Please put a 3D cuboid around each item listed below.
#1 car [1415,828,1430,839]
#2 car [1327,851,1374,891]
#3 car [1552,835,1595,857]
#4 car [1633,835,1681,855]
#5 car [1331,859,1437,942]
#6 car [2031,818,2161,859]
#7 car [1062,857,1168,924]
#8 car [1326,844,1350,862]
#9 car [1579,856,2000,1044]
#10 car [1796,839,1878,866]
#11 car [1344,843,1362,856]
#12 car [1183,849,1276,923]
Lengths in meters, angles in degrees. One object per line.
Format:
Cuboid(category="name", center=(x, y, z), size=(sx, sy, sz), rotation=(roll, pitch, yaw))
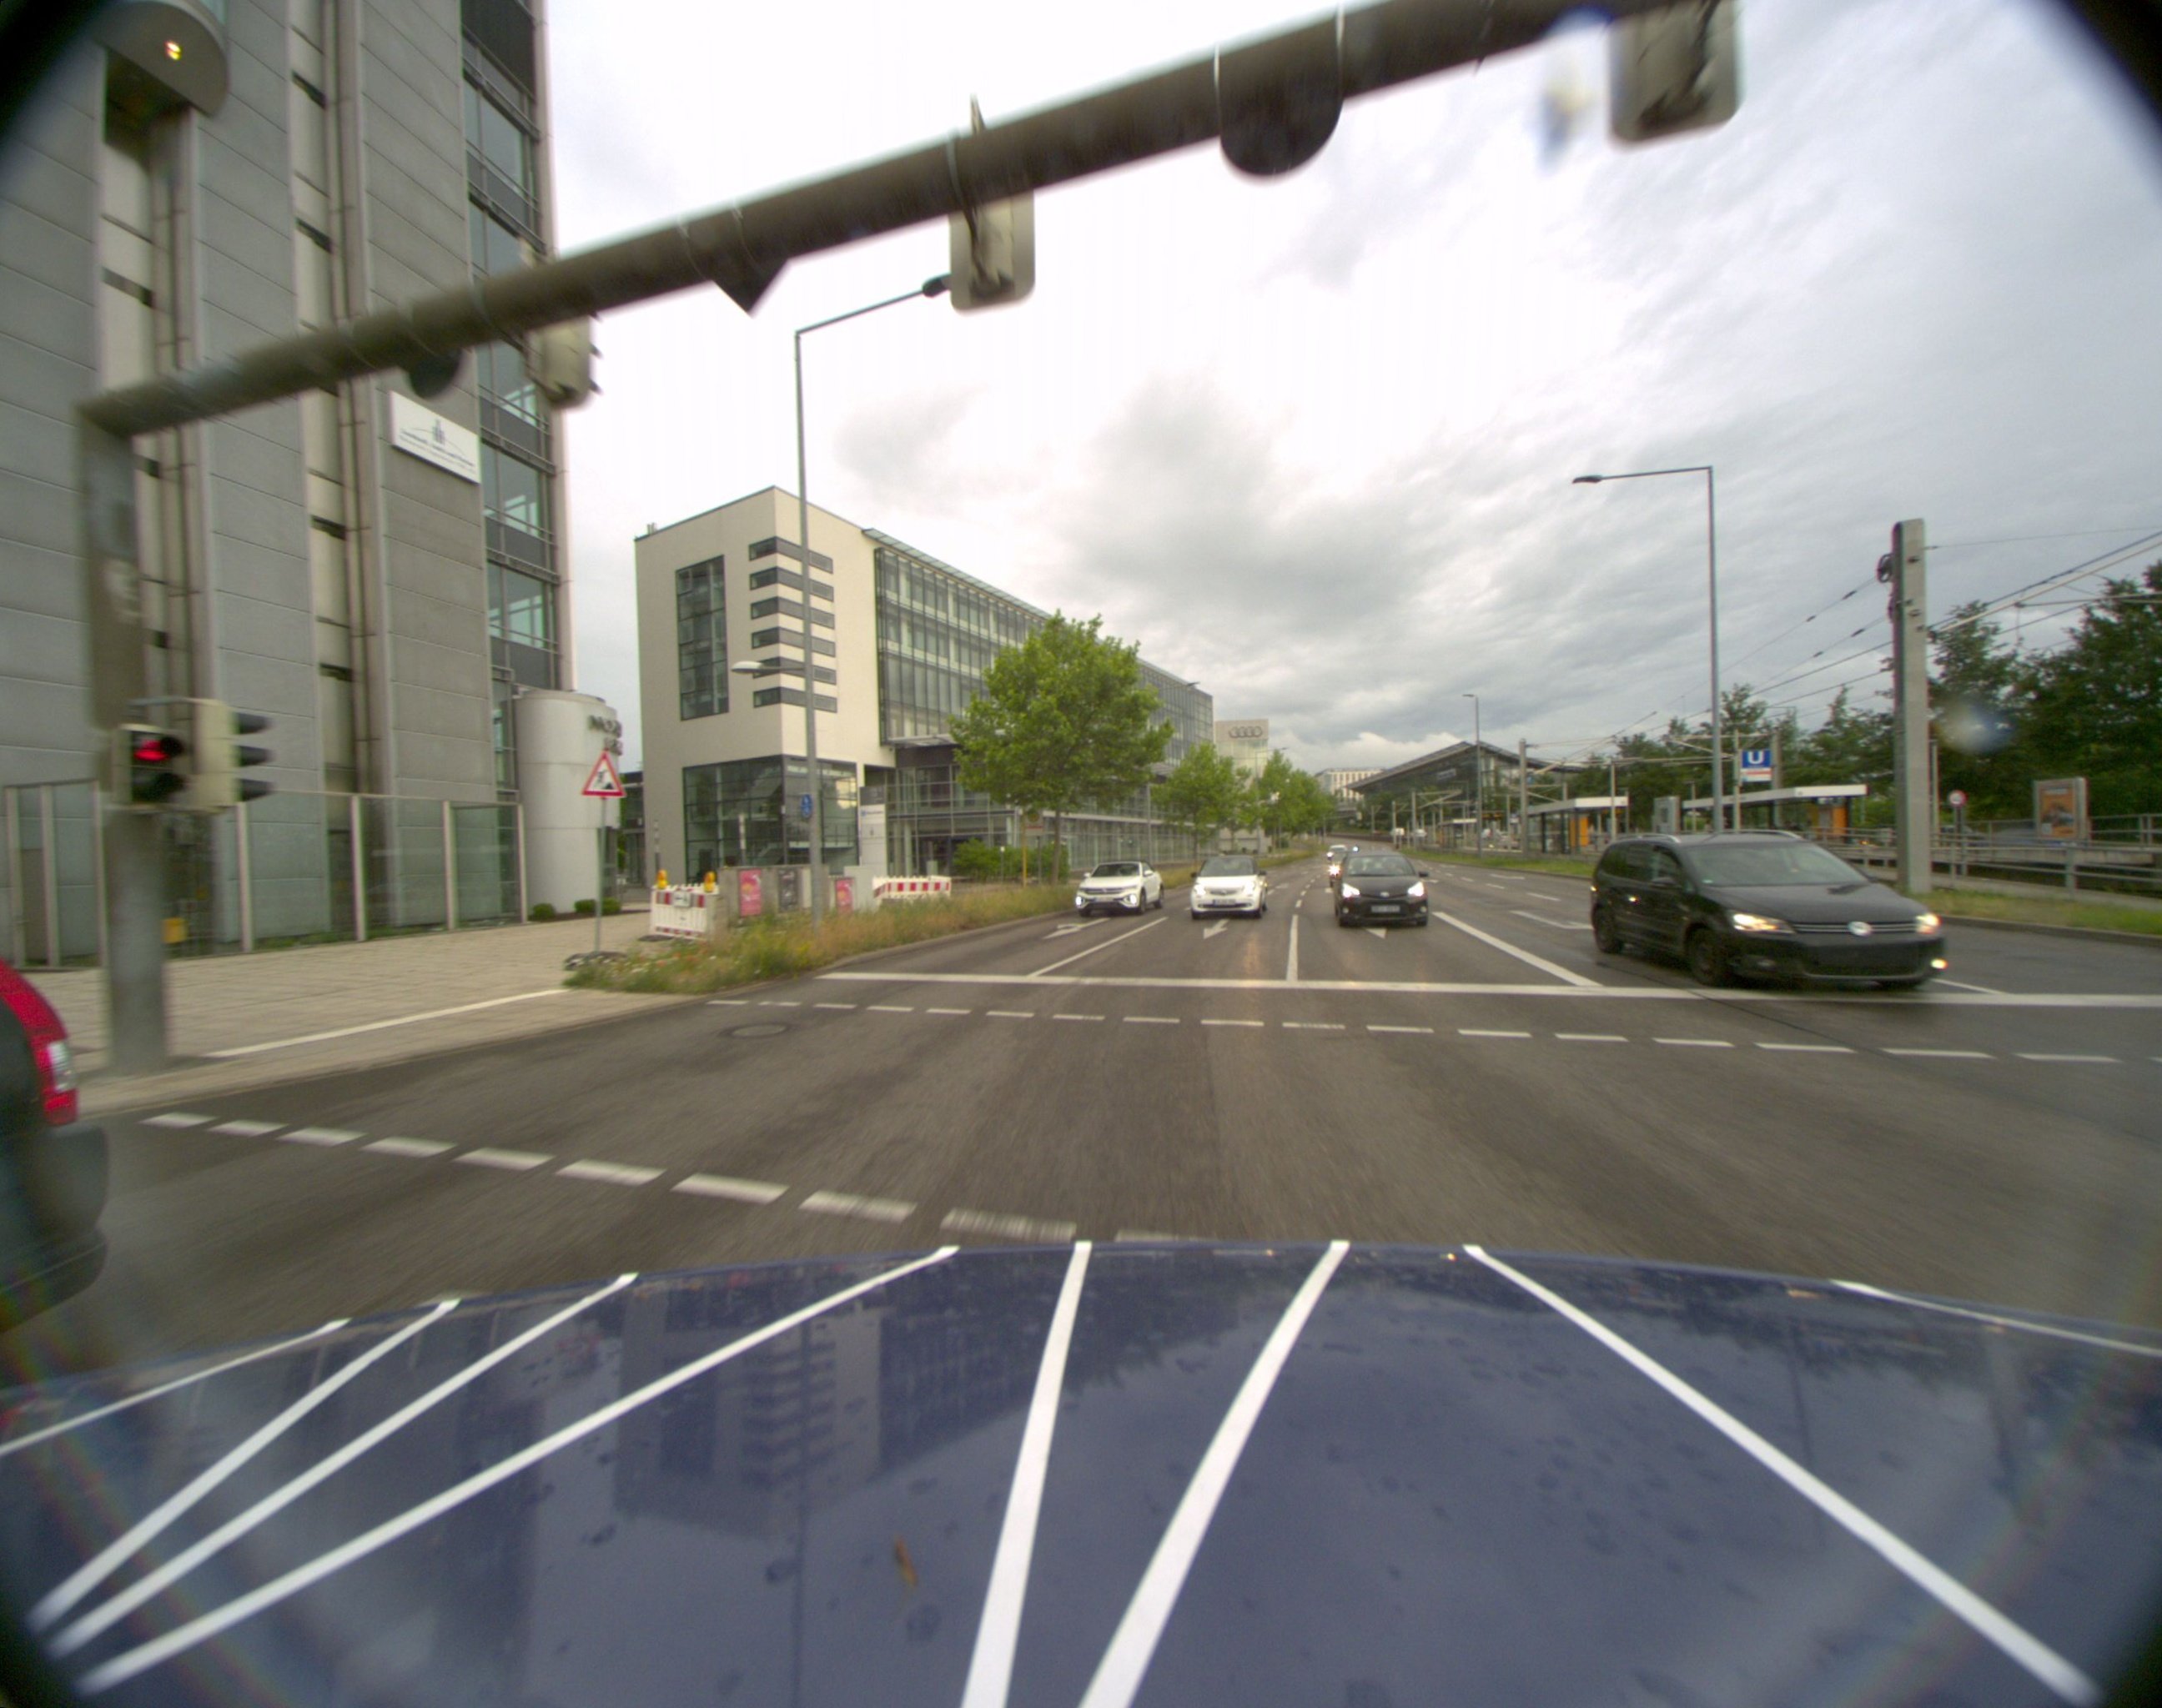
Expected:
Cuboid(category="car", center=(70.773, -4.195, 157.513), size=(1.996, 2.201, 5.149), rotation=(-4, 0, 17))
Cuboid(category="car", center=(11.582, 0.680, 32.661), size=(1.737, 1.469, 4.005), rotation=(-4, 0, 20))
Cuboid(category="car", center=(39.992, -0.691, 61.801), size=(1.530, 1.657, 4.273), rotation=(-4, 0, 15))
Cuboid(category="car", center=(48.312, -0.756, 63.813), size=(1.789, 1.494, 4.004), rotation=(-4, 0, 16))
Cuboid(category="car", center=(6.351, 0.909, 16.288), size=(1.695, 1.513, 3.909), rotation=(-3, -1, 16))
Cuboid(category="car", center=(44.718, -0.679, 33.399), size=(1.574, 1.617, 4.087), rotation=(-4, 0, 16))
Cuboid(category="car", center=(1.083, 0.996, 21.807), size=(1.996, 1.668, 3.827), rotation=(-4, -2, 18))
Cuboid(category="car", center=(27.477, -0.147, 81.196), size=(1.826, 1.701, 4.160), rotation=(-4, 0, 26))
Cuboid(category="car", center=(7.615, 0.891, 8.832), size=(1.729, 1.582, 4.197), rotation=(-4, 0, 15))
Cuboid(category="car", center=(46.522, -0.109, 46.875), size=(1.741, 1.453, 4.157), rotation=(-4, 0, 16))
Cuboid(category="car", center=(36.022, -0.621, 100.525), size=(1.699, 1.514, 3.831), rotation=(-2, 1, 27))
Cuboid(category="car", center=(3.945, 0.750, 19.673), size=(1.803, 1.713, 4.005), rotation=(-2, 0, 19))
